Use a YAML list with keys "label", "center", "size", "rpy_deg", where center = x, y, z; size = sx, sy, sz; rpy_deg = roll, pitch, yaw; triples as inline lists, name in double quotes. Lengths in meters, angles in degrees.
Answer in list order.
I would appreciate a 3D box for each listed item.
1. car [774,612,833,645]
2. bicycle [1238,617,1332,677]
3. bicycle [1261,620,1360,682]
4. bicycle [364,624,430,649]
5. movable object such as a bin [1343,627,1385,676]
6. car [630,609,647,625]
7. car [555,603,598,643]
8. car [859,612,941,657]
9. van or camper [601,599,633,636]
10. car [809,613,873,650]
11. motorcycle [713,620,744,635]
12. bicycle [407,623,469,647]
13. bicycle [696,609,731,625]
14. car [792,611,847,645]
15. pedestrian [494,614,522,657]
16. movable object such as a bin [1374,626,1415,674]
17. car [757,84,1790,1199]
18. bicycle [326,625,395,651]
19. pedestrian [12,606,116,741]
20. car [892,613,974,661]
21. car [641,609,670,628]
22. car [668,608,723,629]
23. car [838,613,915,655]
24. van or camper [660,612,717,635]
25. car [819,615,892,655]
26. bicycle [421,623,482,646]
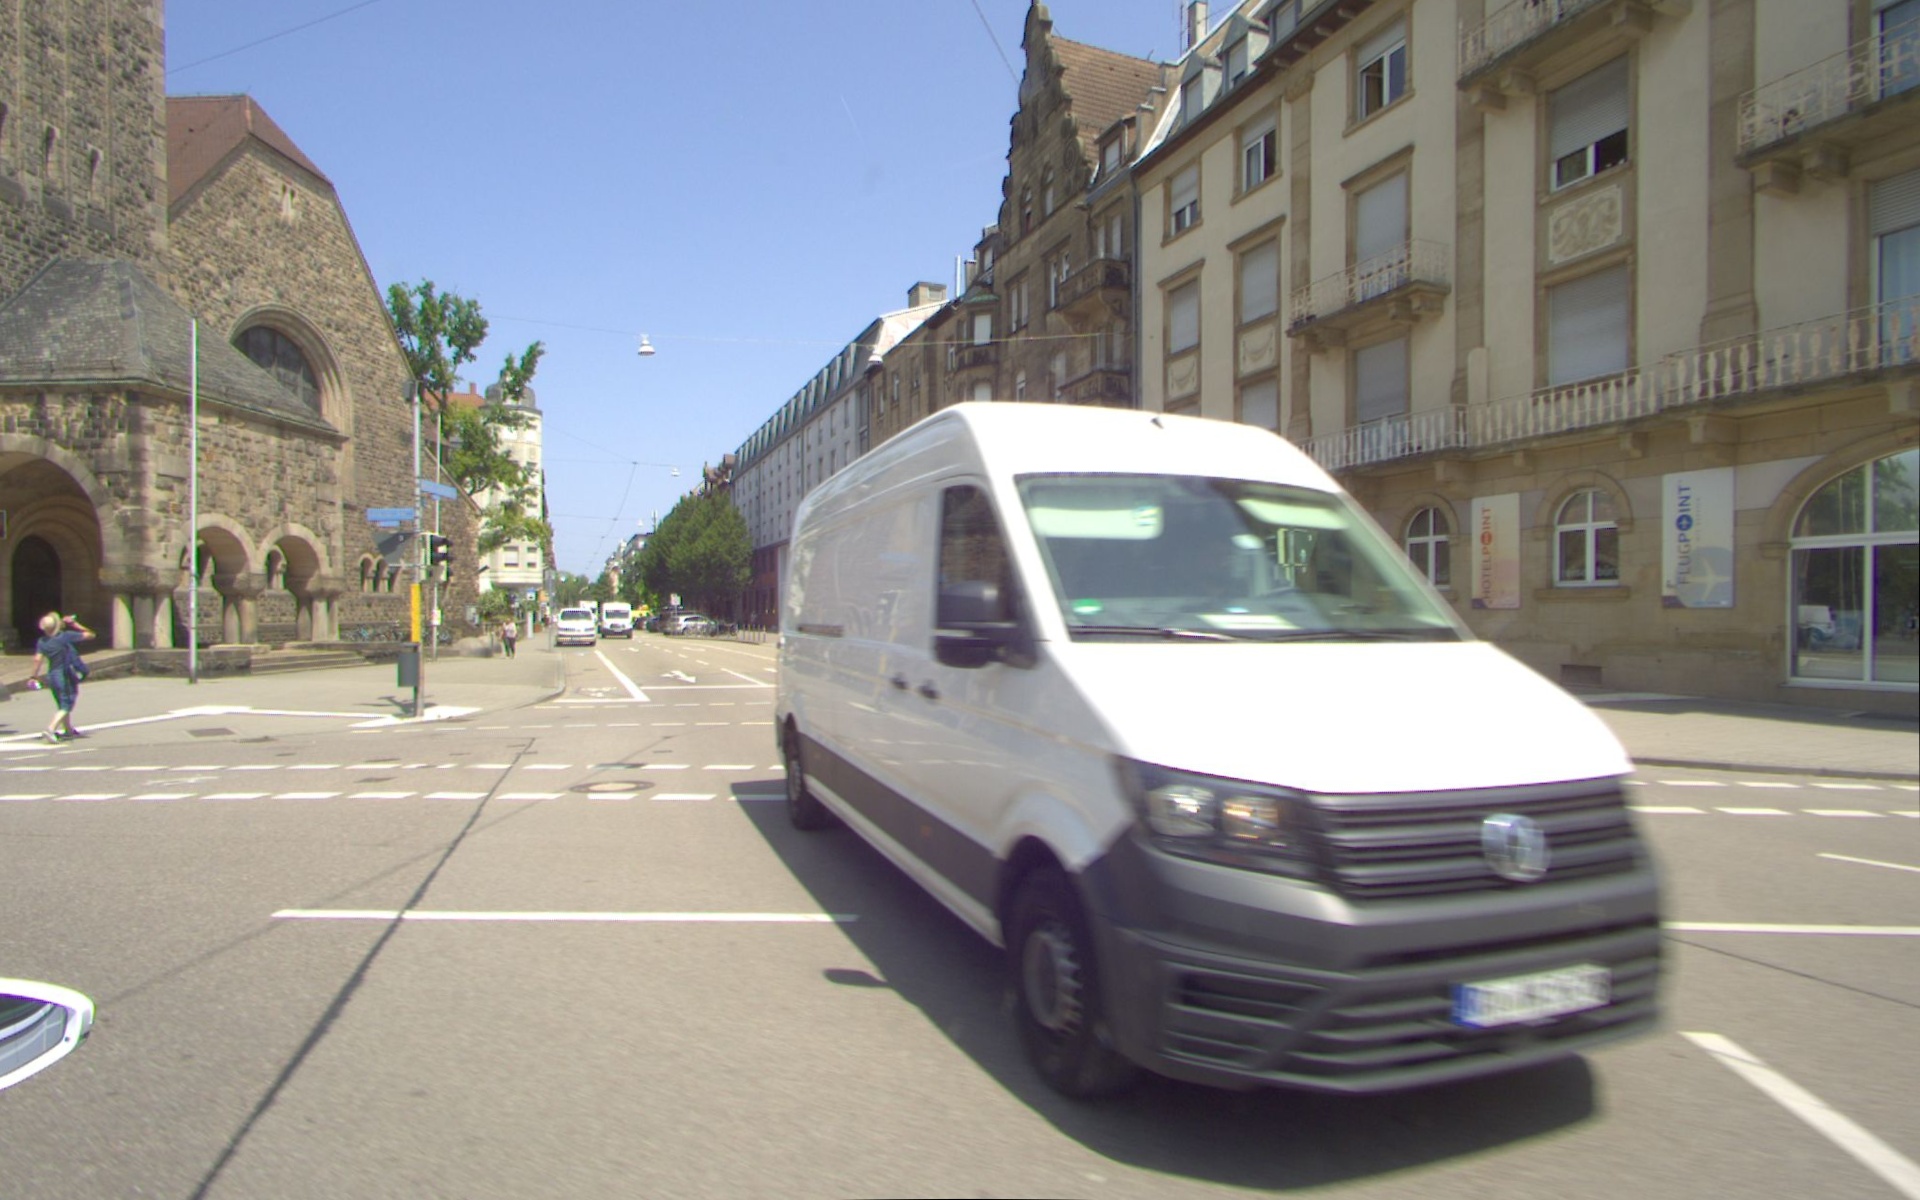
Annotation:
- label: "car"
  center: [-8.335, 1.504, 53.520]
  size: [1.590, 1.595, 3.218]
  rpy_deg: [-3, -1, 22]
- label: "bicycle"
  center: [6.762, 0.969, 20.857]
  size: [1.771, 1.166, 0.565]
  rpy_deg: [-1, 0, -8]
- label: "bicycle"
  center: [6.999, 1.010, 20.013]
  size: [1.771, 1.166, 0.565]
  rpy_deg: [-1, 0, -8]
- label: "bicycle"
  center: [-23.844, 1.540, 42.413]
  size: [2.450, 1.025, 0.706]
  rpy_deg: [0, 0, 5]
- label: "movable object such as a bin"
  center: [9.026, 1.147, 22.393]
  size: [0.658, 1.078, 0.590]
  rpy_deg: [0, 0, -14]
- label: "car"
  center: [-43.161, 2.341, 134.370]
  size: [1.880, 2.040, 3.991]
  rpy_deg: [-1, -1, -20]
- label: "car"
  center: [-20.343, 1.186, 53.291]
  size: [2.010, 2.031, 4.956]
  rpy_deg: [0, 0, -19]
- label: "car"
  center: [-2.336, 1.352, 39.635]
  size: [1.595, 1.595, 3.208]
  rpy_deg: [-3, -1, 33]
- label: "van or camper"
  center: [-24.152, 1.230, 70.556]
  size: [2.038, 2.494, 5.888]
  rpy_deg: [0, 0, -19]
- label: "car"
  center: [-5.755, 1.517, 48.745]
  size: [1.591, 1.595, 3.216]
  rpy_deg: [-3, -1, 24]
- label: "motorcycle"
  center: [-16.331, 1.943, 70.742]
  size: [2.037, 0.972, 0.742]
  rpy_deg: [-1, 2, -5]
- label: "bicycle"
  center: [-23.220, 1.563, 44.540]
  size: [2.450, 1.025, 0.706]
  rpy_deg: [0, 0, 5]
- label: "bicycle"
  center: [-18.724, 1.279, 76.163]
  size: [2.574, 1.190, 0.676]
  rpy_deg: [1, -1, -45]
- label: "car"
  center: [-7.110, 1.395, 50.935]
  size: [1.470, 1.595, 3.221]
  rpy_deg: [-3, -1, 18]
- label: "pedestrian"
  center: [-16.593, 1.297, 36.801]
  size: [0.707, 1.579, 0.792]
  rpy_deg: [0, 0, -4]
- label: "movable object such as a bin"
  center: [9.405, 1.079, 21.671]
  size: [0.572, 1.008, 0.590]
  rpy_deg: [0, -1, -14]
- label: "car"
  center: [0.387, 0.200, 5.747]
  size: [2.042, 2.672, 6.616]
  rpy_deg: [0, 0, -20]
- label: "bicycle"
  center: [-24.287, 1.542, 40.590]
  size: [2.450, 1.025, 0.706]
  rpy_deg: [0, 0, 5]
- label: "pedestrian"
  center: [-12.632, 1.021, 14.131]
  size: [0.817, 1.846, 0.744]
  rpy_deg: [0, 0, 10]
- label: "car"
  center: [-0.952, 1.335, 36.926]
  size: [1.593, 1.595, 3.212]
  rpy_deg: [-3, -1, 28]
- label: "car"
  center: [-28.664, 1.714, 94.162]
  size: [1.931, 1.773, 3.981]
  rpy_deg: [0, 0, -28]
- label: "car"
  center: [-21.023, 1.475, 79.654]
  size: [1.732, 1.569, 3.963]
  rpy_deg: [-1, -1, 44]
- label: "car"
  center: [-3.523, 1.444, 42.505]
  size: [1.595, 1.595, 3.208]
  rpy_deg: [-3, -1, 33]
- label: "van or camper"
  center: [-22.757, 1.976, 84.022]
  size: [1.977, 1.862, 4.291]
  rpy_deg: [0, 0, 41]
- label: "car"
  center: [-4.696, 1.560, 45.307]
  size: [1.595, 1.595, 3.208]
  rpy_deg: [-3, -1, 33]
- label: "bicycle"
  center: [-23.202, 1.570, 45.710]
  size: [2.450, 1.025, 0.706]
  rpy_deg: [0, 0, 5]
